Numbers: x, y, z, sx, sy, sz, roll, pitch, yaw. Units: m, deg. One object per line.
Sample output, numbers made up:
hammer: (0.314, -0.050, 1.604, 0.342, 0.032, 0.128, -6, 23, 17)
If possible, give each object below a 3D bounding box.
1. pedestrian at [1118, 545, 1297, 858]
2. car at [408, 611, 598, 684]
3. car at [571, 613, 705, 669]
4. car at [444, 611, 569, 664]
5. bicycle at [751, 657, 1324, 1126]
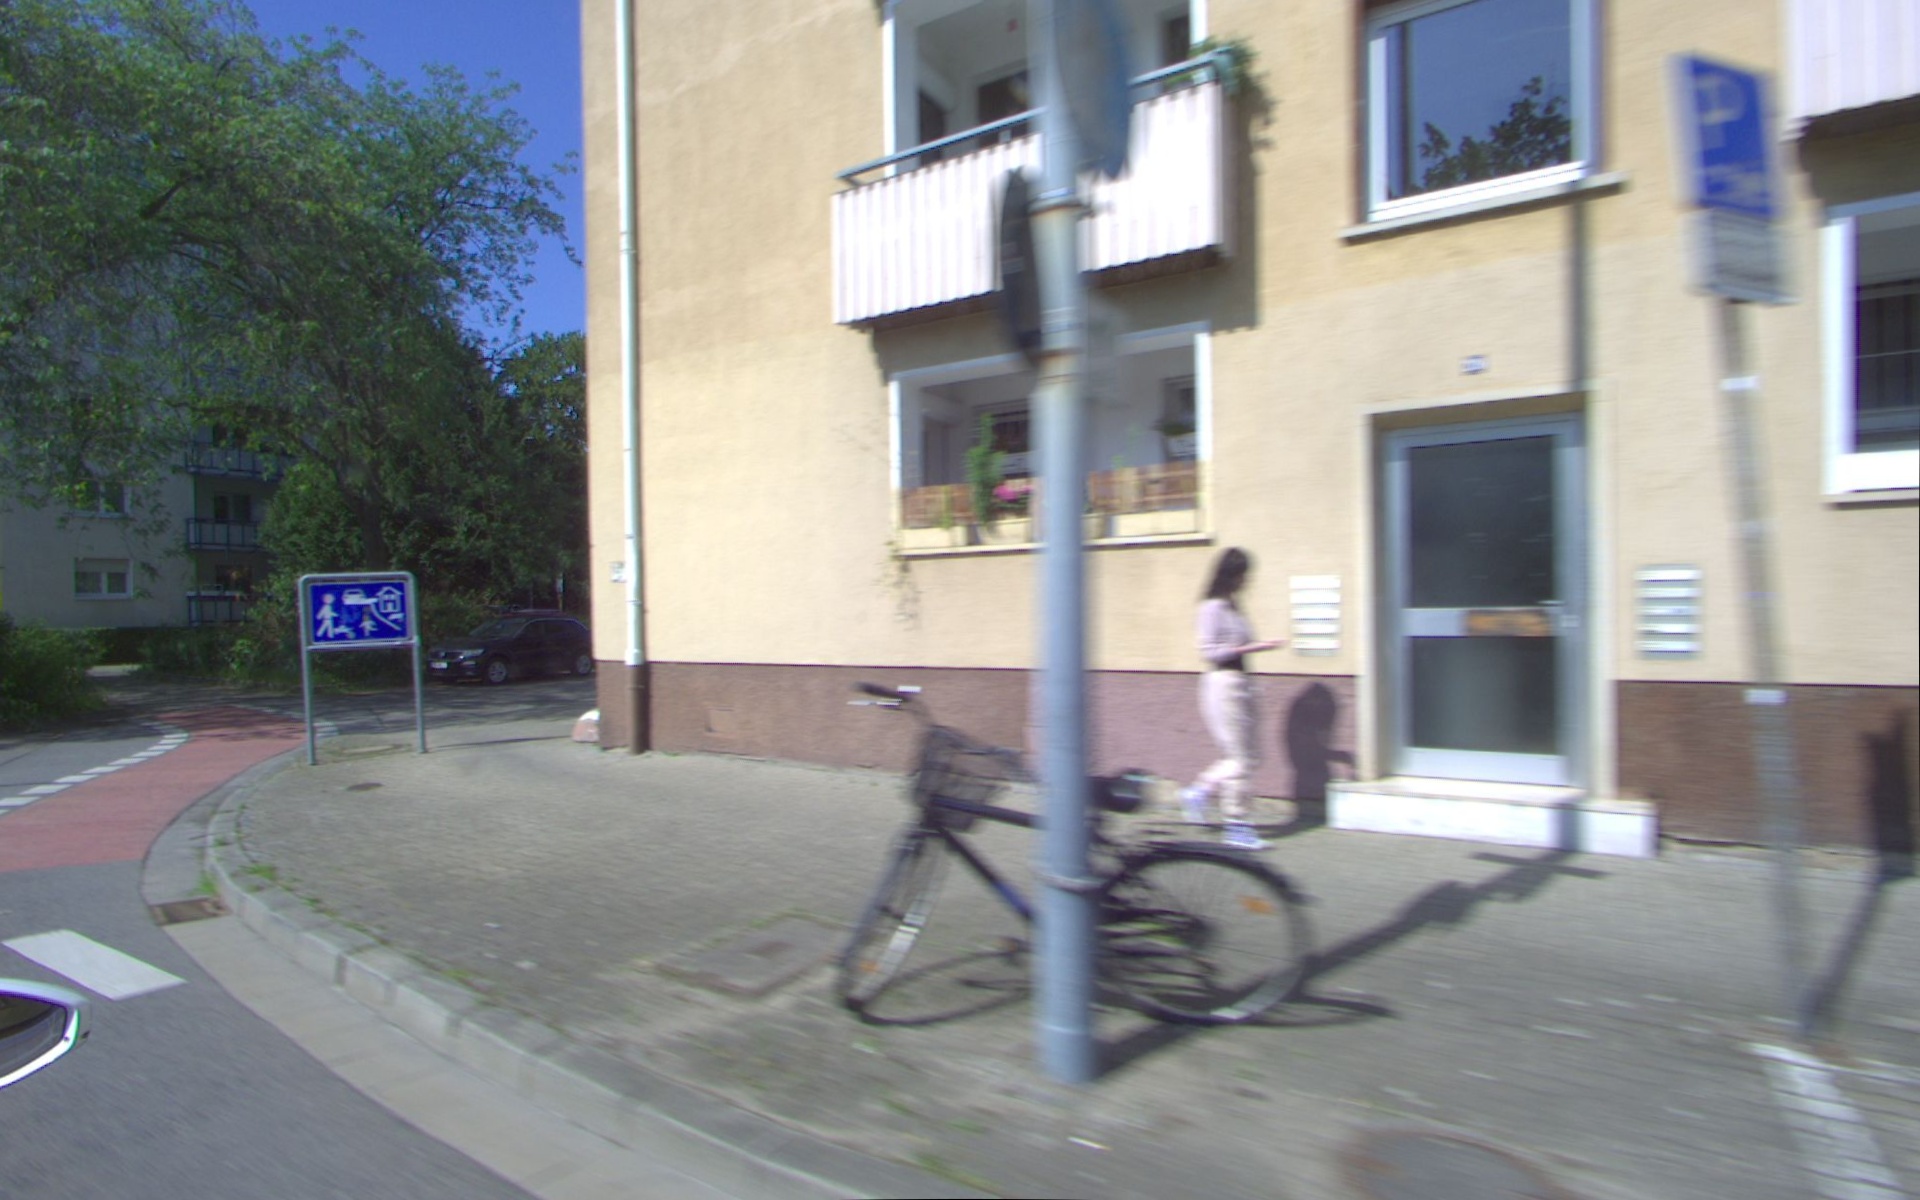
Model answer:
pedestrian: (1.417, 0.527, 5.698, 0.812, 1.631, 0.653, 0, 2, 33)
car: (-10.760, 1.069, 23.874, 1.810, 1.568, 3.962, -1, -1, 23)
car: (-9.009, 1.097, 28.341, 1.749, 1.461, 3.765, 0, -1, 18)
car: (-15.499, 1.241, 34.285, 3.789, 1.695, 1.655, 0, -1, -27)
bicycle: (0.233, 0.783, 3.247, 1.717, 1.138, 0.702, -1, 0, 26)
